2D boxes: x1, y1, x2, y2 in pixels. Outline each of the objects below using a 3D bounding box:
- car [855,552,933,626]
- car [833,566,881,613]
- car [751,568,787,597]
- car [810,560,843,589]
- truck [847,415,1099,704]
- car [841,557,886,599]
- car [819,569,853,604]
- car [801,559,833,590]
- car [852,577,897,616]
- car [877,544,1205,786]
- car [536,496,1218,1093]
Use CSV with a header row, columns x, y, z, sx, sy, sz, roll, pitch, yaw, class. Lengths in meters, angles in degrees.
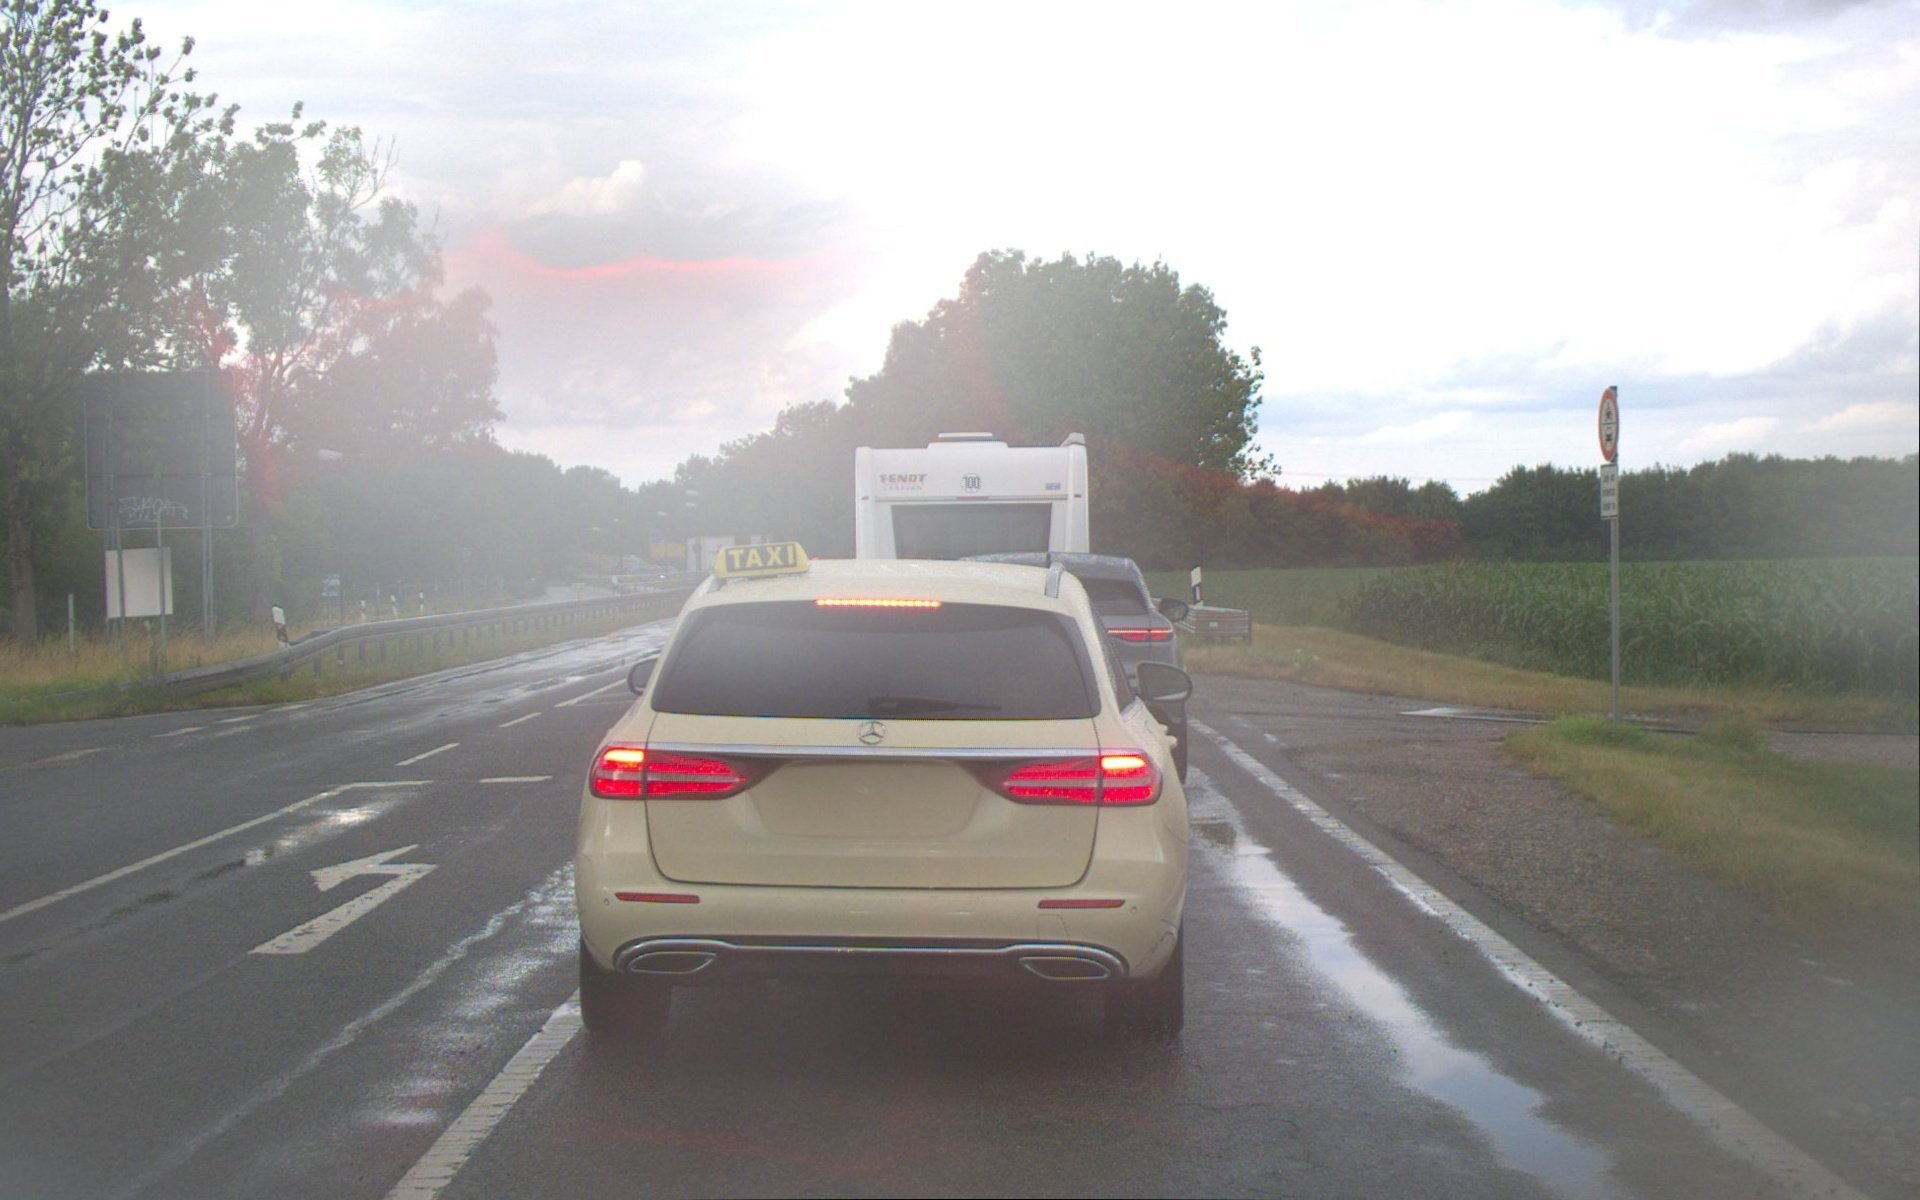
x,y,z,sx,sy,sz,roll,pitch,yaw,class
-1.692,-0.313,89.144,1.915,1.834,3.795,-1,1,0,car
-4.009,-0.419,133.989,1.791,1.771,3.721,-1,1,-1,car
-10.920,-1.006,196.439,1.828,1.568,4.000,1,0,0,car
-7.870,-1.501,203.108,1.748,1.656,3.673,-1,1,-5,car
0.086,-0.436,36.585,2.363,2.719,7.314,-1,1,-1,truck
-4.210,-0.972,150.791,1.879,1.755,3.834,-1,1,-1,car
-6.806,-0.764,188.785,1.740,1.853,3.785,-1,1,-1,car
-8.889,-1.591,213.502,1.895,1.888,3.844,-1,1,-4,car
-4.037,-0.174,162.659,1.993,1.766,4.000,-1,1,0,car
0.477,0.386,23.136,1.993,1.457,4.000,1,0,-1,car
-0.247,0.508,11.321,1.842,1.612,4.000,0,1,-1,car
